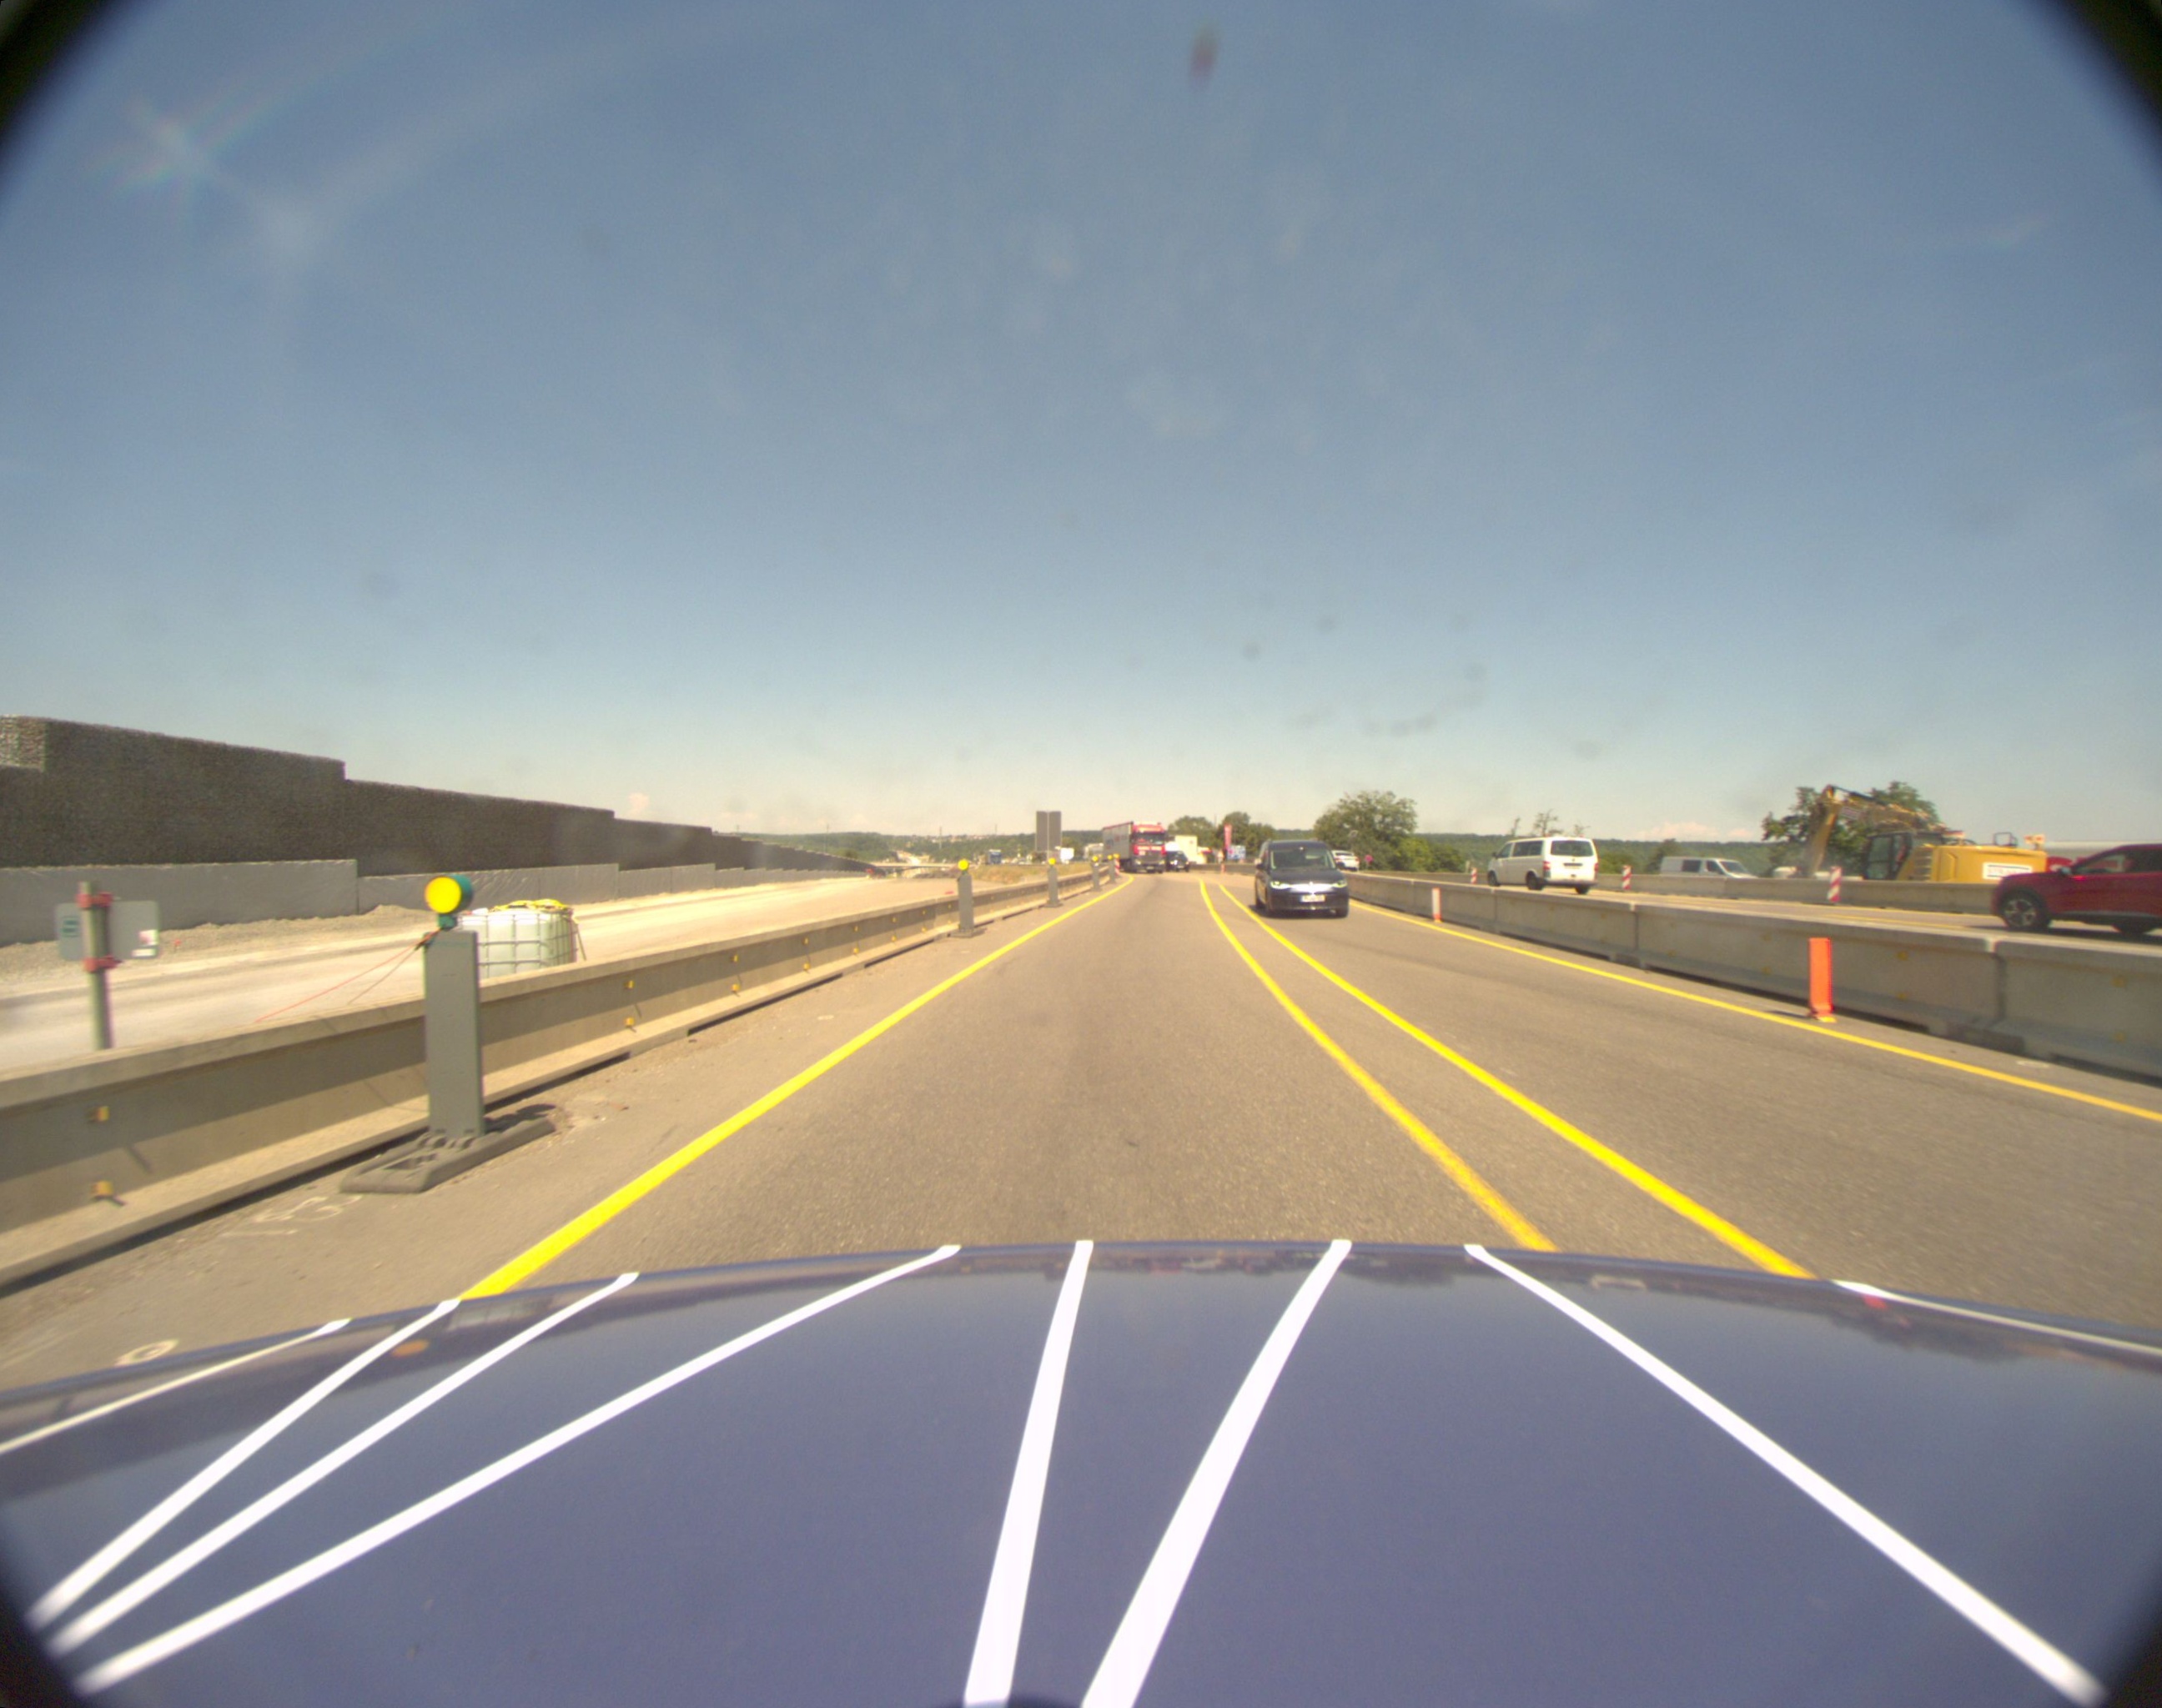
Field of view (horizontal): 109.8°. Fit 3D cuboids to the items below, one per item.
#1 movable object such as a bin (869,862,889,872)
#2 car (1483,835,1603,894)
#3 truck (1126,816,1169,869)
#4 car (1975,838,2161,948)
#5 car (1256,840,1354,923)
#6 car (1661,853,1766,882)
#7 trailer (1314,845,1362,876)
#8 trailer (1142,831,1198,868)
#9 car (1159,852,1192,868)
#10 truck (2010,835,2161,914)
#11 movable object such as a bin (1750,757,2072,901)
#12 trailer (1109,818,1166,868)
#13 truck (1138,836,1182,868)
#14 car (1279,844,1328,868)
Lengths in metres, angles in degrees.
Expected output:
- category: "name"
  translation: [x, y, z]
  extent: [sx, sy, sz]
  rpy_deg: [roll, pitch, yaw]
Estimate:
- category: "movable object such as a bin"
  translation: [-47.642, 3.055, 178.980]
  extent: [4.142, 2.135, 1.758]
  rpy_deg: [0, 0, -39]
- category: "car"
  translation: [16.851, 0.354, 28.024]
  extent: [1.869, 1.942, 4.894]
  rpy_deg: [0, 0, 6]
- category: "truck"
  translation: [5.084, -0.850, 58.789]
  extent: [2.628, 3.880, 4.932]
  rpy_deg: [0, 0, -3]
- category: "car"
  translation: [16.812, 0.584, 11.553]
  extent: [1.723, 1.618, 4.339]
  rpy_deg: [0, 0, 8]
- category: "car"
  translation: [5.394, 0.589, 18.794]
  extent: [1.924, 1.779, 4.607]
  rpy_deg: [-1, 0, 12]
- category: "car"
  translation: [38.582, 0.789, 46.528]
  extent: [1.726, 1.703, 4.879]
  rpy_deg: [0, 0, -12]
- category: "trailer"
  translation: [17.491, 0.448, 51.830]
  extent: [1.870, 2.010, 4.436]
  rpy_deg: [0, 0, 2]
- category: "trailer"
  translation: [10.468, -0.536, 91.225]
  extent: [2.596, 4.127, 13.050]
  rpy_deg: [0, 0, -12]
- category: "car"
  translation: [8.079, 0.501, 65.383]
  extent: [1.716, 1.254, 3.996]
  rpy_deg: [0, 0, -11]
- category: "truck"
  translation: [42.168, 0.789, 31.345]
  extent: [2.349, 3.025, 4.260]
  rpy_deg: [0, 0, -12]
- category: "movable object such as a bin"
  translation: [29.002, -0.750, 27.497]
  extent: [2.928, 4.304, 9.335]
  rpy_deg: [1, 0, 12]
- category: "trailer"
  translation: [4.630, -0.842, 64.809]
  extent: [2.703, 3.852, 12.415]
  rpy_deg: [0, 0, -6]
- category: "truck"
  translation: [8.558, -0.233, 83.301]
  extent: [2.589, 3.361, 6.919]
  rpy_deg: [0, 0, -14]
- category: "car"
  translation: [16.928, 0.141, 58.021]
  extent: [1.871, 1.796, 4.903]
  rpy_deg: [0, 0, -6]
